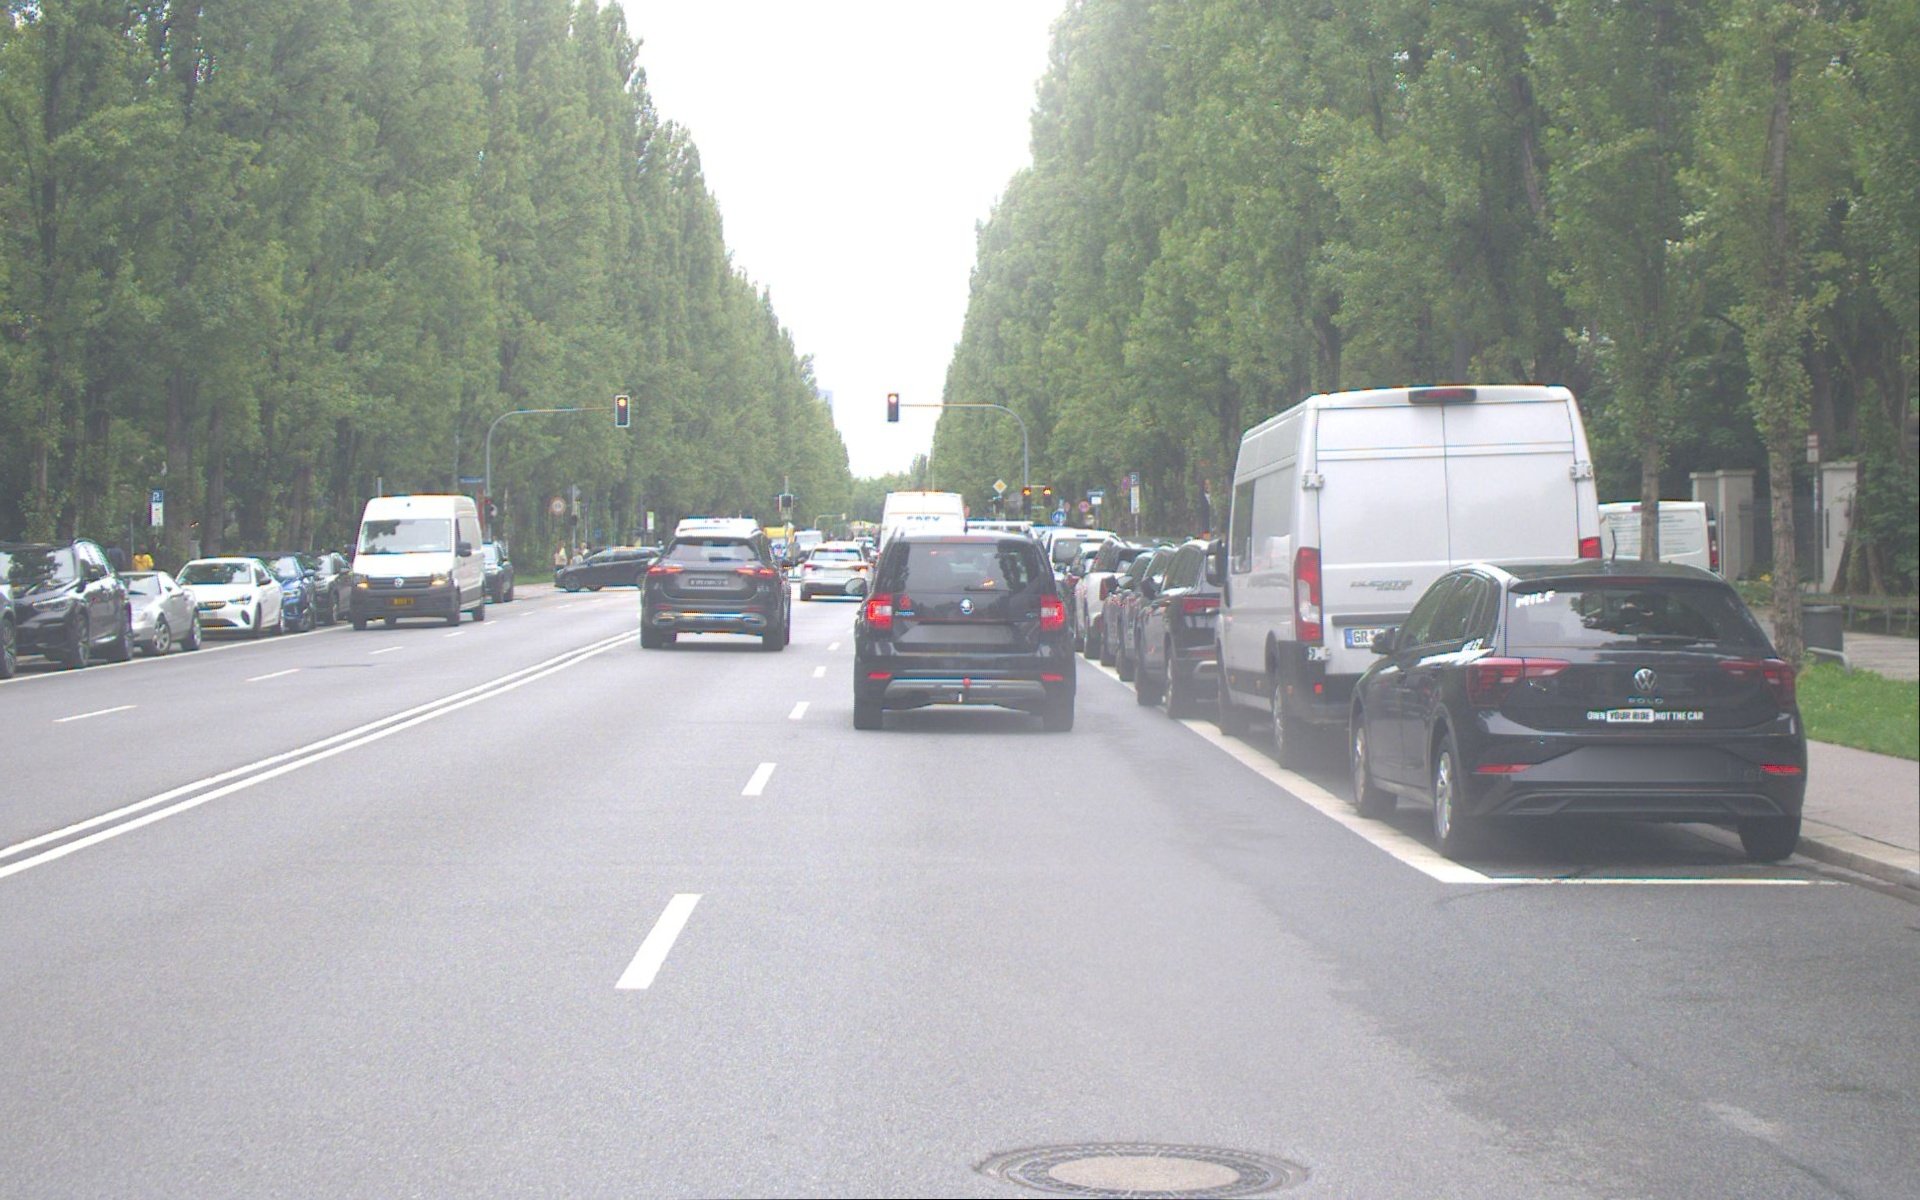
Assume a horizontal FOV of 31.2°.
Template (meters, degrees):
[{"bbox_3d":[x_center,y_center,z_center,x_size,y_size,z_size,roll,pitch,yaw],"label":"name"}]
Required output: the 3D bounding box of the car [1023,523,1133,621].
[{"bbox_3d":[2.322,-0.588,68.705,1.851,1.875,4.169,0,1,-3],"label":"car"}]

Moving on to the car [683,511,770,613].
[{"bbox_3d":[-4.989,-0.797,73.667,1.781,2.104,4.025,1,0,-4],"label":"car"}]

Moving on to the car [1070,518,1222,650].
[{"bbox_3d":[2.456,-0.259,46.437,1.742,1.670,4.580,0,1,-1],"label":"car"}]

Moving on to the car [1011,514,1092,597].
[{"bbox_3d":[2.134,-1.077,81.180,1.735,1.888,4.025,0,1,-1],"label":"car"}]

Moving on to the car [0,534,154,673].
[{"bbox_3d":[-12.582,0.017,47.234,1.940,1.761,4.896,-3,1,-2],"label":"car"}]

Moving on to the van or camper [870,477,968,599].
[{"bbox_3d":[-0.908,-1.346,73.952,1.975,2.539,4.025,-1,1,-2],"label":"van or camper"}]

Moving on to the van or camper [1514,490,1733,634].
[{"bbox_3d":[9.470,-0.582,49.492,2.076,1.927,5.369,1,1,0],"label":"van or camper"}]

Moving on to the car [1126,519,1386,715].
[{"bbox_3d":[2.622,0.090,31.367,1.784,1.643,4.418,0,1,-3],"label":"car"}]

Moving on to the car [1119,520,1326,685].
[{"bbox_3d":[2.713,-0.029,36.480,1.784,1.612,4.638,0,1,-1],"label":"car"}]

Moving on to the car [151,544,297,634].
[{"bbox_3d":[-13.088,-0.228,61.359,1.770,1.447,4.234,-3,1,-2],"label":"car"}]

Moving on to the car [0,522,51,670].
[{"bbox_3d":[-12.588,0.007,41.364,1.909,1.783,5.180,-3,1,-1],"label":"car"}]

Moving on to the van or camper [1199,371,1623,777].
[{"bbox_3d":[3.044,-0.226,24.719,2.138,2.531,6.418,0,1,-1],"label":"van or camper"}]

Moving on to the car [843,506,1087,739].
[{"bbox_3d":[0.025,0.136,28.788,1.855,1.764,4.000,2,1,0],"label":"car"}]

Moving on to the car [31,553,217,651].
[{"bbox_3d":[-12.769,-0.005,52.764,1.826,1.329,4.234,-3,1,-1],"label":"car"}]

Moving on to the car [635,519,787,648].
[{"bbox_3d":[-3.353,-0.261,46.978,1.781,1.614,4.025,2,2,-1],"label":"car"}]

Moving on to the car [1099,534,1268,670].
[{"bbox_3d":[2.642,-0.015,41.510,1.702,1.514,4.295,0,1,-1],"label":"car"}]

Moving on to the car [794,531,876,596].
[{"bbox_3d":[-3.127,-0.936,86.412,1.993,1.555,4.001,0,1,-1],"label":"car"}]

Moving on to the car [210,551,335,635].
[{"bbox_3d":[-13.079,-0.156,65.606,1.709,1.446,3.586,-3,1,-2],"label":"car"}]

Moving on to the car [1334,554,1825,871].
[{"bbox_3d":[3.056,0.487,17.734,1.676,1.415,4.001,0,1,-2],"label":"car"}]

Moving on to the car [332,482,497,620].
[{"bbox_3d":[-10.610,-0.982,67.345,2.227,2.475,6.759,-2,1,-1],"label":"car"}]
